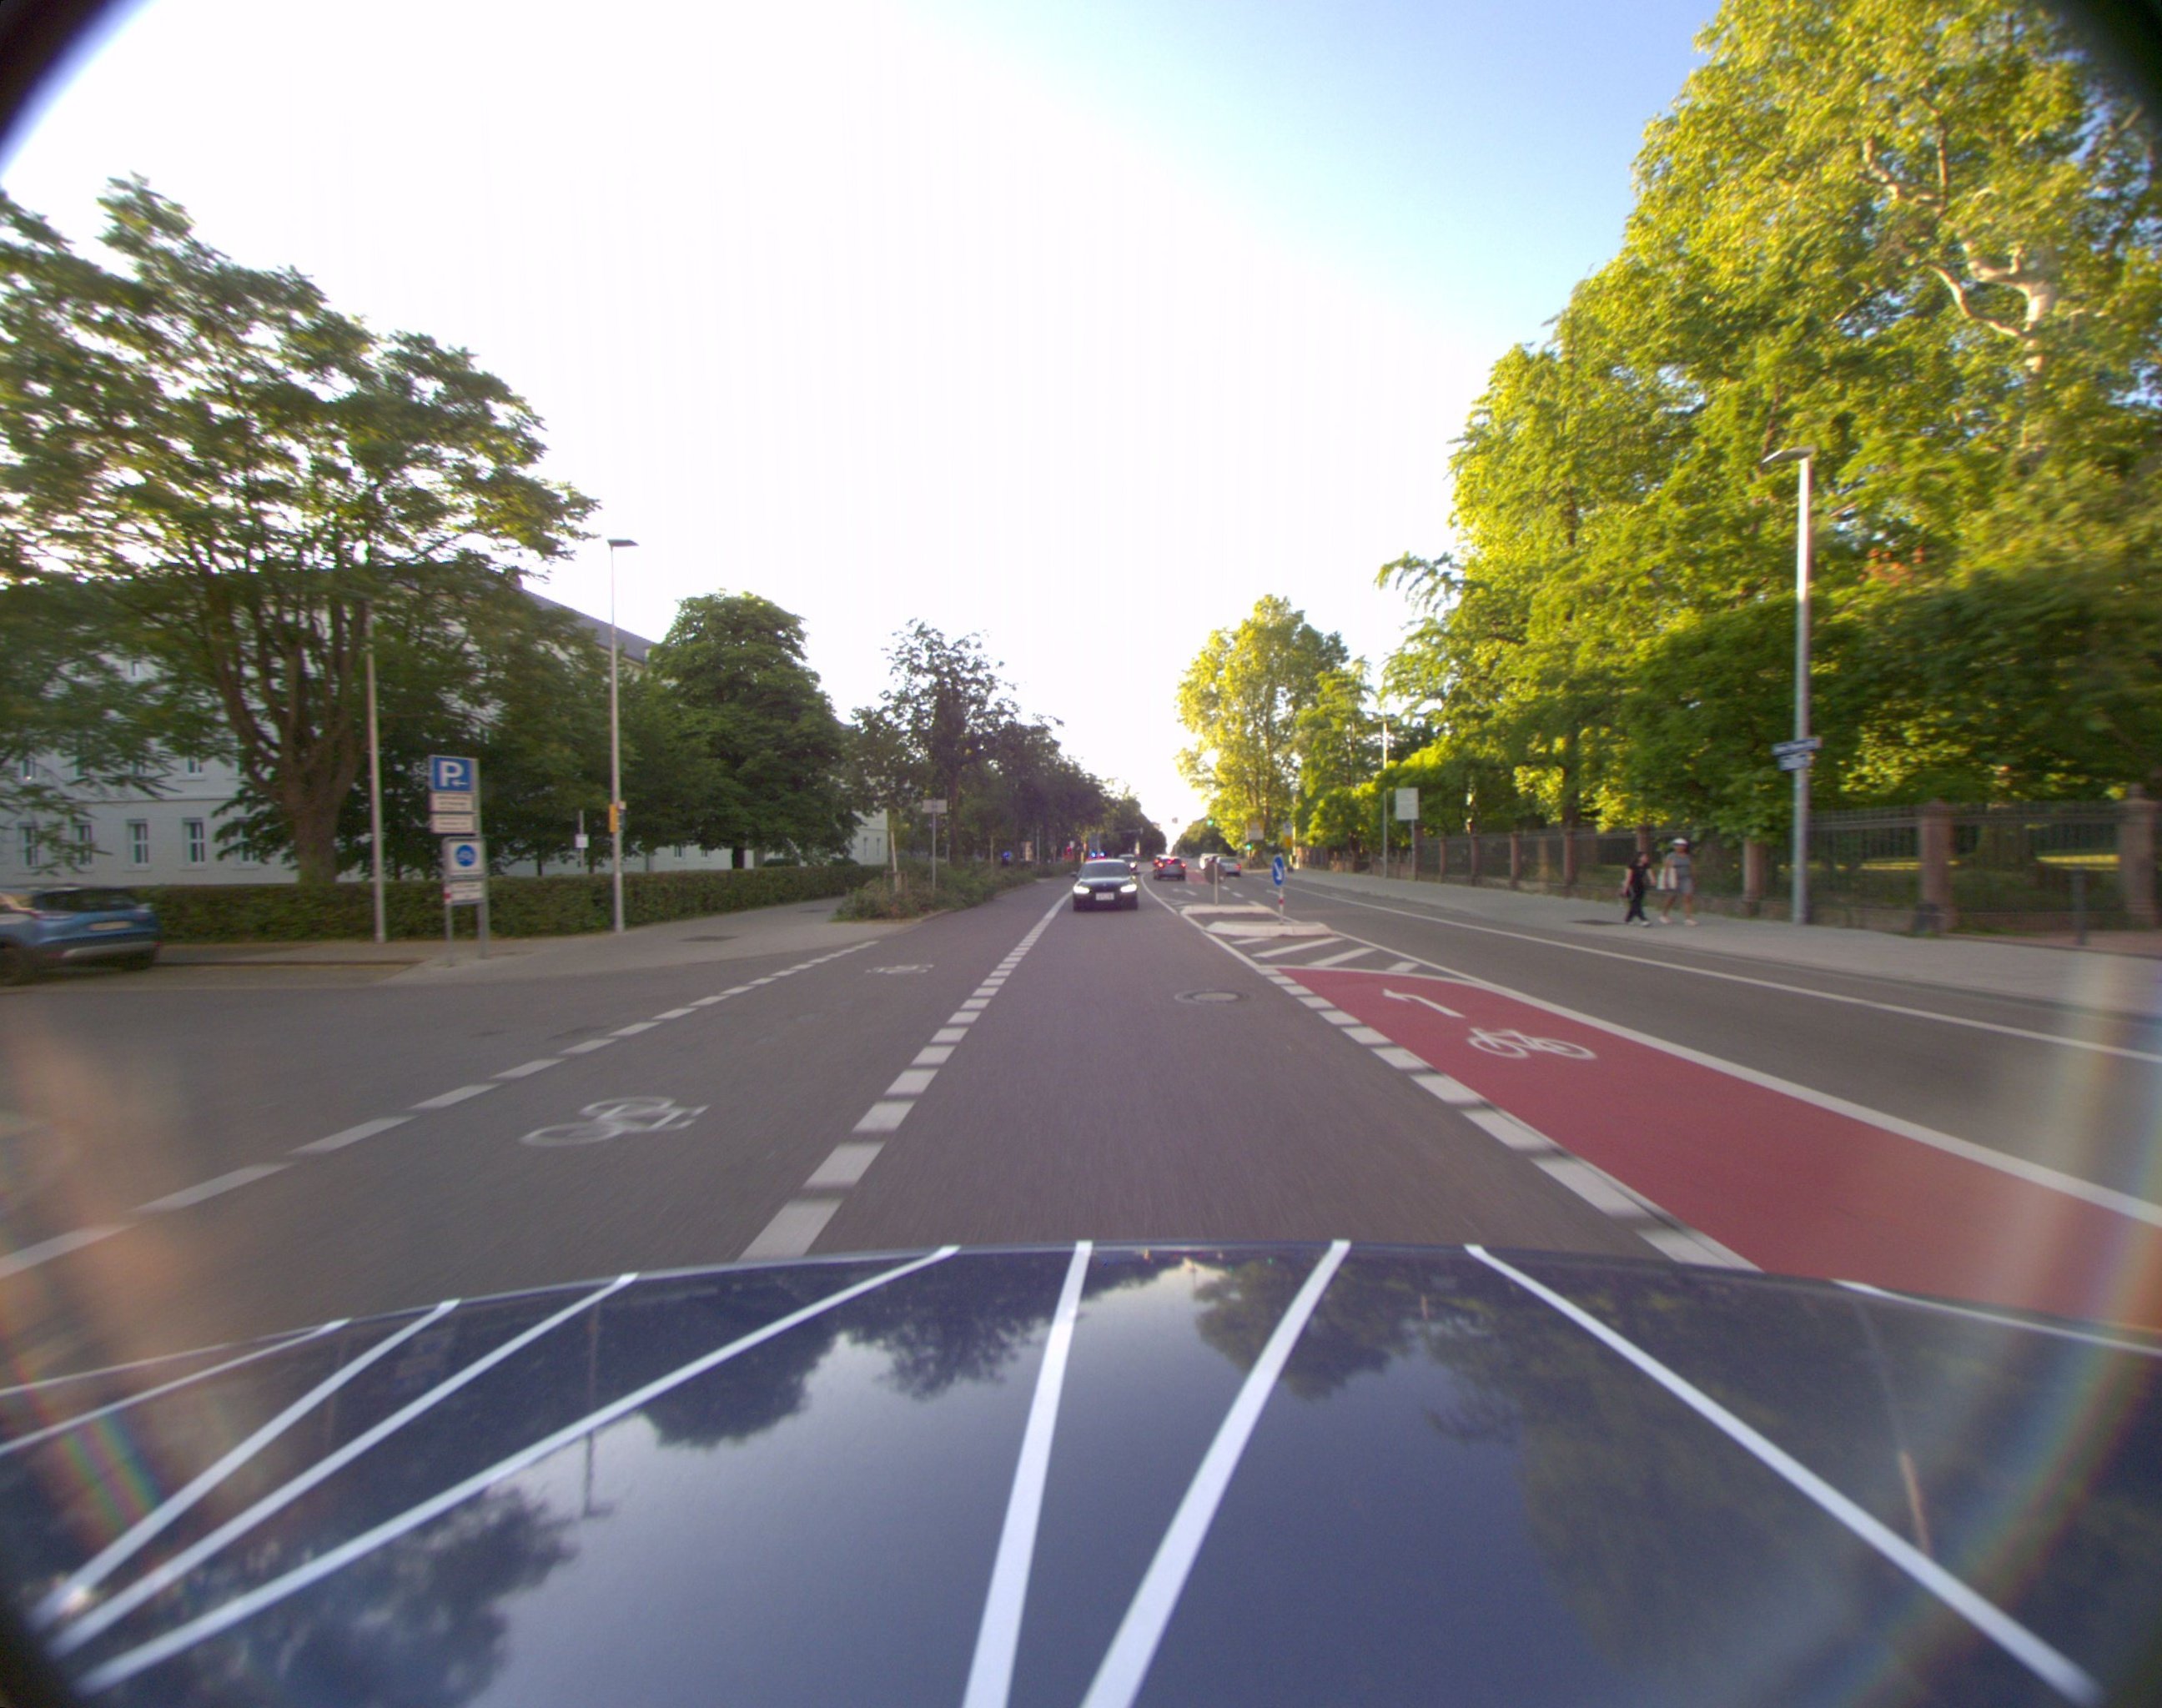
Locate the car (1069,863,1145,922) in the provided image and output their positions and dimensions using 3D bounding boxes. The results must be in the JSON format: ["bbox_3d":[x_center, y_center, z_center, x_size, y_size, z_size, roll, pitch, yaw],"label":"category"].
[{"bbox_3d":[0.730,1.034,22.223,1.964,1.378,4.781,-1,1,1],"label":"car"}]

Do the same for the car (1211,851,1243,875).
[{"bbox_3d":[10.510,0.627,54.865,1.920,1.674,4.002,-1,0,6],"label":"car"}]

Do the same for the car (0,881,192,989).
[{"bbox_3d":[-18.012,1.326,12.779,3.926,1.572,1.873,-1,1,2],"label":"car"}]

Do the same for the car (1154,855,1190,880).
[{"bbox_3d":[5.577,0.787,46.911,1.776,1.455,4.000,0,0,1],"label":"car"}]

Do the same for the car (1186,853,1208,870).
[{"bbox_3d":[12.134,0.730,79.656,1.997,1.674,4.002,-1,0,6],"label":"car"}]

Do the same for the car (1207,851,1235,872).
[{"bbox_3d":[11.795,0.575,64.363,1.997,1.674,4.002,-1,0,6],"label":"car"}]

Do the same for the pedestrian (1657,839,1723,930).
[{"bbox_3d":[11.909,0.575,14.889,0.807,1.728,0.851,-1,1,24],"label":"pedestrian"}]

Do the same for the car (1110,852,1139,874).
[{"bbox_3d":[3.755,0.763,66.144,1.839,1.674,4.221,-3,1,-5],"label":"car"}]

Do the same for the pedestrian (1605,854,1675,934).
[{"bbox_3d":[11.135,0.790,15.161,0.675,1.504,0.836,-5,-1,6],"label":"pedestrian"}]

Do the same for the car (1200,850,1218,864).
[{"bbox_3d":[15.853,0.393,94.428,1.997,1.674,4.002,-1,0,6],"label":"car"}]

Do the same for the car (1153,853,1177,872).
[{"bbox_3d":[7.548,0.770,68.839,1.902,1.611,3.895,-1,0,3],"label":"car"}]
